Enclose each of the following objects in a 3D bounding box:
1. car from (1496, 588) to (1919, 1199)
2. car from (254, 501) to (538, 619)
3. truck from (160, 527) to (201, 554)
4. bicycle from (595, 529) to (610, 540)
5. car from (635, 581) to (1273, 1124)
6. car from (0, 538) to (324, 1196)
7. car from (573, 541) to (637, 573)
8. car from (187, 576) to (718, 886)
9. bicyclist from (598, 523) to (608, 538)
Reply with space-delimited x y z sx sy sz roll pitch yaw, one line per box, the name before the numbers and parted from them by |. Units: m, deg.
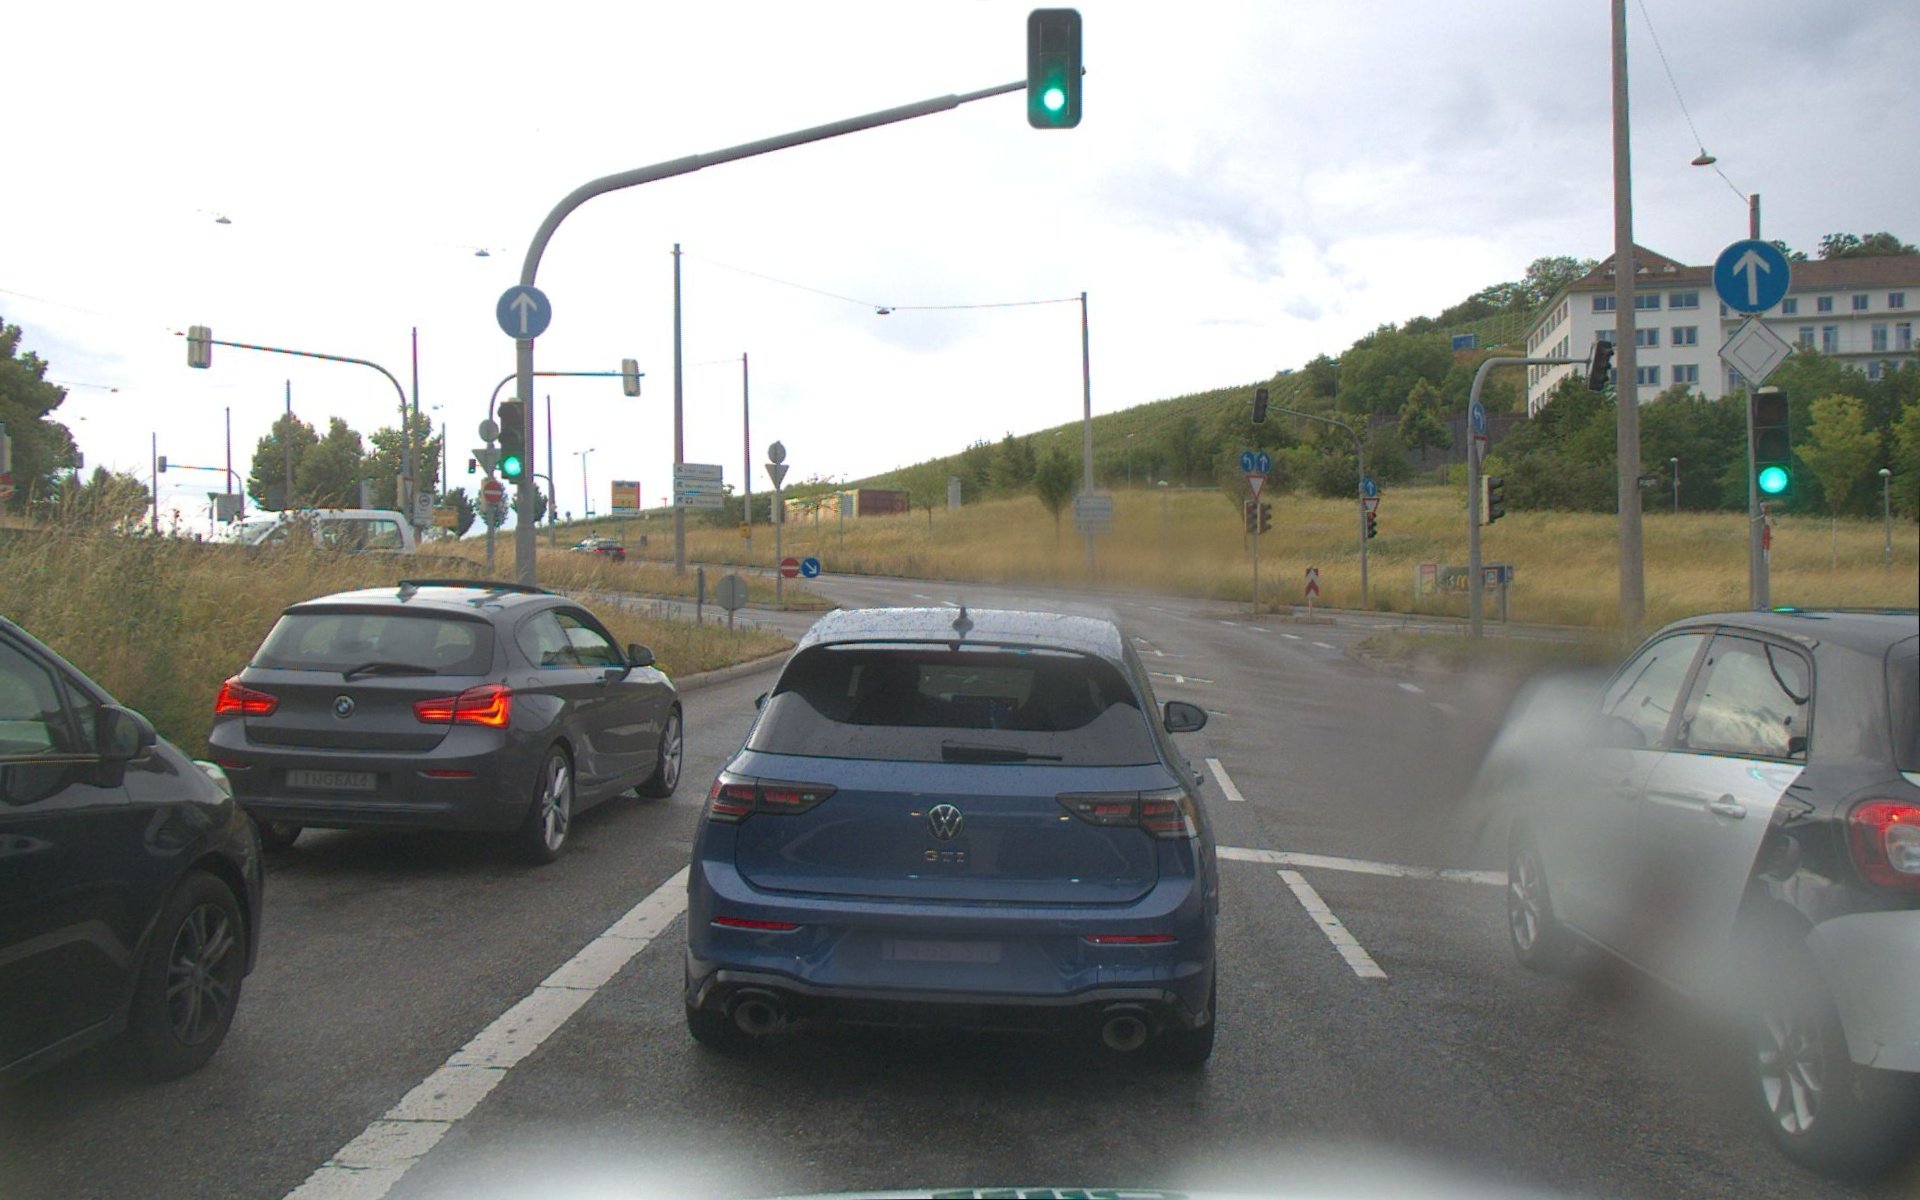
car | 3.155 0.766 5.726 1.623 1.529 3.452 1 -1 3
car | -9.661 -0.724 28.745 1.781 1.882 4.692 0 2 29
truck | -98.682 -7.555 209.315 3.235 3.128 6.093 4 0 -38
bicycle | -26.549 -4.879 122.882 0.513 0.788 1.602 2 1 -33
car | 0.122 0.695 6.552 1.786 1.486 3.810 1 0 4
car | -3.008 0.583 3.656 1.608 1.530 3.779 3 0 1
car | -19.177 -2.321 89.320 1.973 1.646 4.803 2 1 -30
car | -2.763 0.608 10.041 1.667 1.485 4.117 0 0 5
bicyclist | -26.560 -5.189 122.925 0.518 1.065 0.574 4 0 -32
